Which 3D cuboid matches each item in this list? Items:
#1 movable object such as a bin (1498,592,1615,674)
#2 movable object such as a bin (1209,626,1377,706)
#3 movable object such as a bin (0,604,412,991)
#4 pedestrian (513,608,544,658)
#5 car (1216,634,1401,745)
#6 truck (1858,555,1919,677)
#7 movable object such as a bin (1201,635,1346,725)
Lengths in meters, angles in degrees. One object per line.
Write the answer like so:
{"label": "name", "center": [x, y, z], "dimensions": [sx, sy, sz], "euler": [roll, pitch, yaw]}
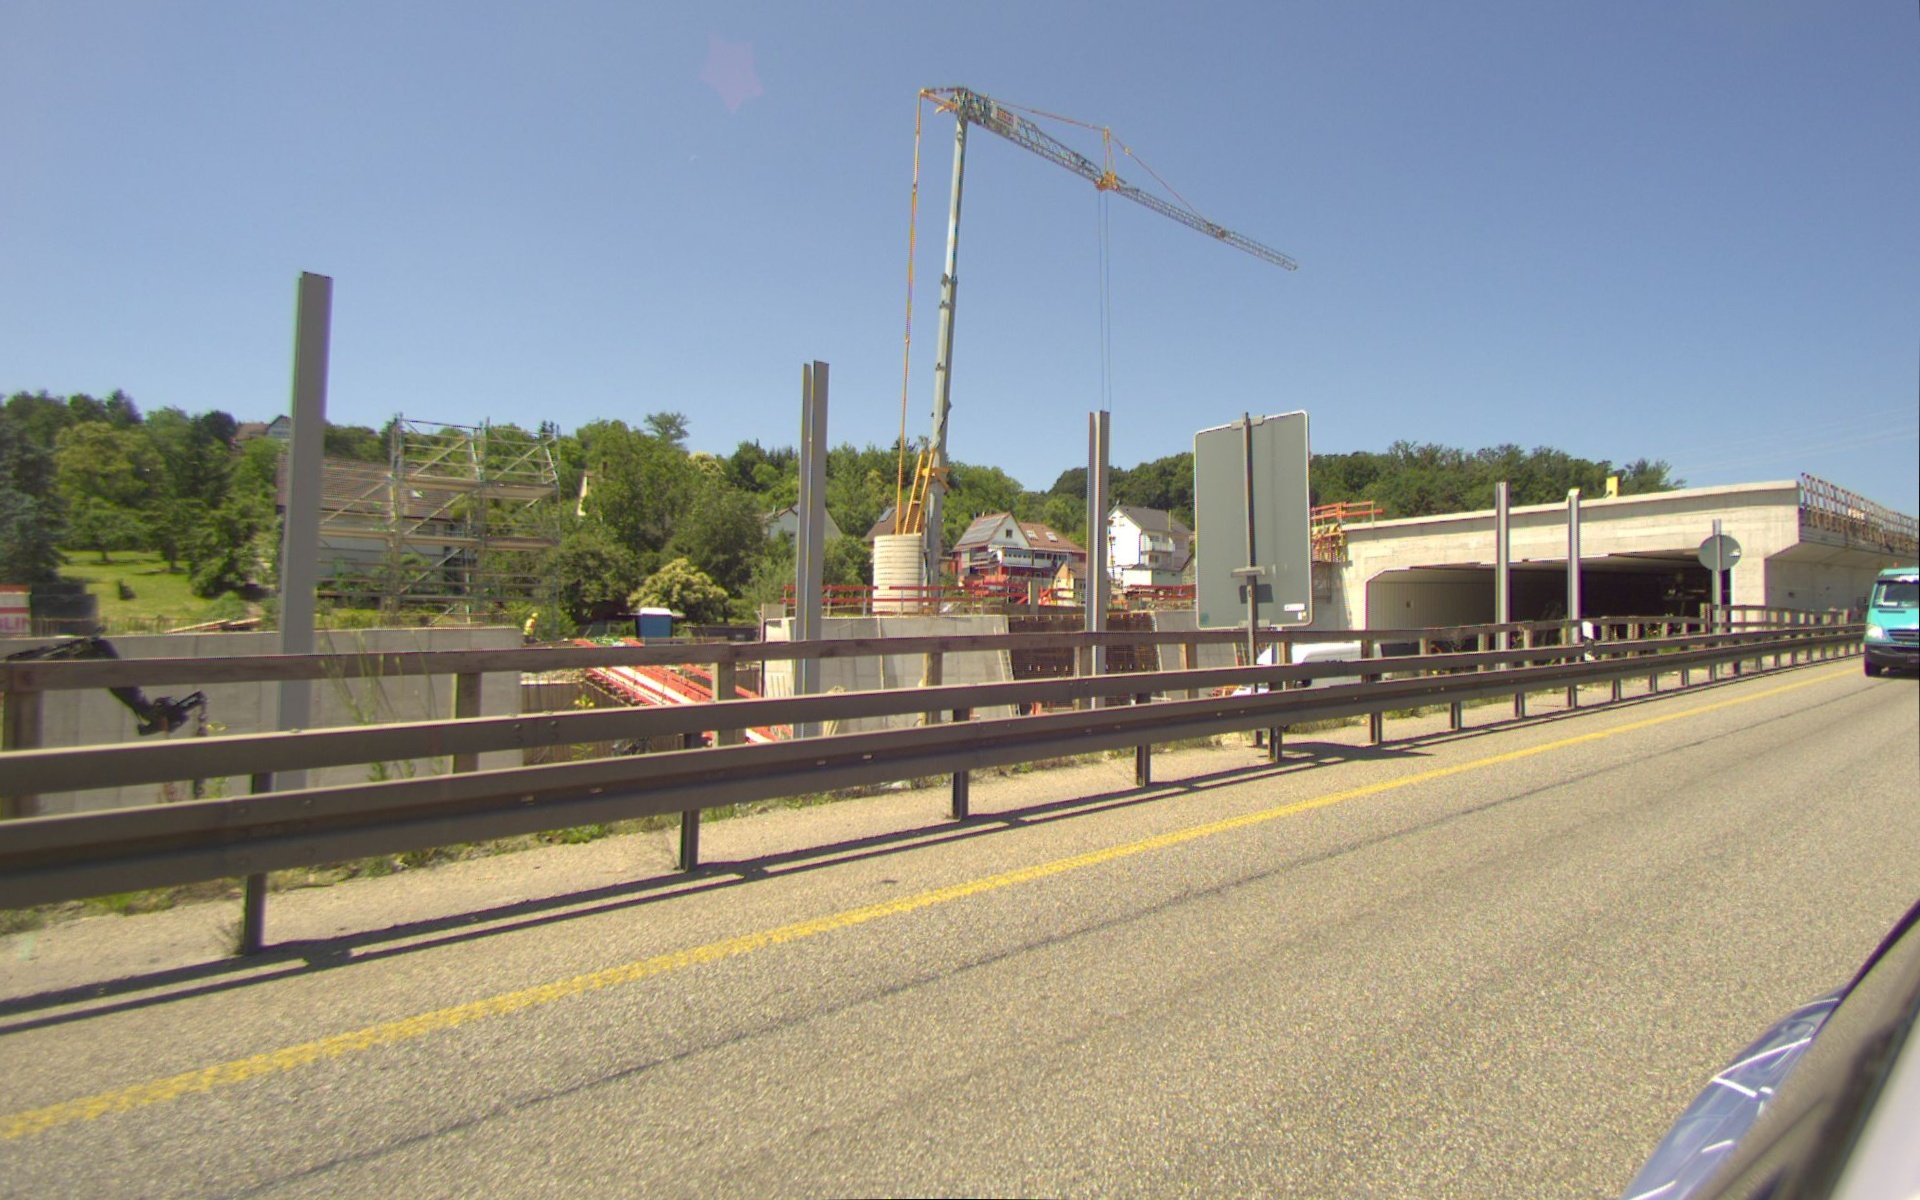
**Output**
{"label": "movable object such as a bin", "center": [33.651, 1.695, 56.884], "dimensions": [8.997, 4.113, 2.958], "euler": [-2, 1, -41]}
{"label": "movable object such as a bin", "center": [14.894, 3.106, 46.011], "dimensions": [3.425, 2.941, 7.159], "euler": [-1, -8, -18]}
{"label": "movable object such as a bin", "center": [-13.321, 2.578, 14.125], "dimensions": [9.488, 4.802, 3.232], "euler": [-2, 1, -41]}
{"label": "pedestrian", "center": [-18.275, 1.379, 42.851], "dimensions": [0.954, 2.012, 1.140], "euler": [-1, 0, -37]}
{"label": "car", "center": [11.338, 2.709, 32.572], "dimensions": [6.893, 2.891, 2.151], "euler": [-1, 1, -37]}
{"label": "truck", "center": [21.724, 0.236, 22.090], "dimensions": [7.302, 2.387, 2.138], "euler": [-2, 1, -40]}
{"label": "movable object such as a bin", "center": [11.274, 2.744, 36.193], "dimensions": [5.398, 2.710, 2.151], "euler": [-1, 1, -36]}
